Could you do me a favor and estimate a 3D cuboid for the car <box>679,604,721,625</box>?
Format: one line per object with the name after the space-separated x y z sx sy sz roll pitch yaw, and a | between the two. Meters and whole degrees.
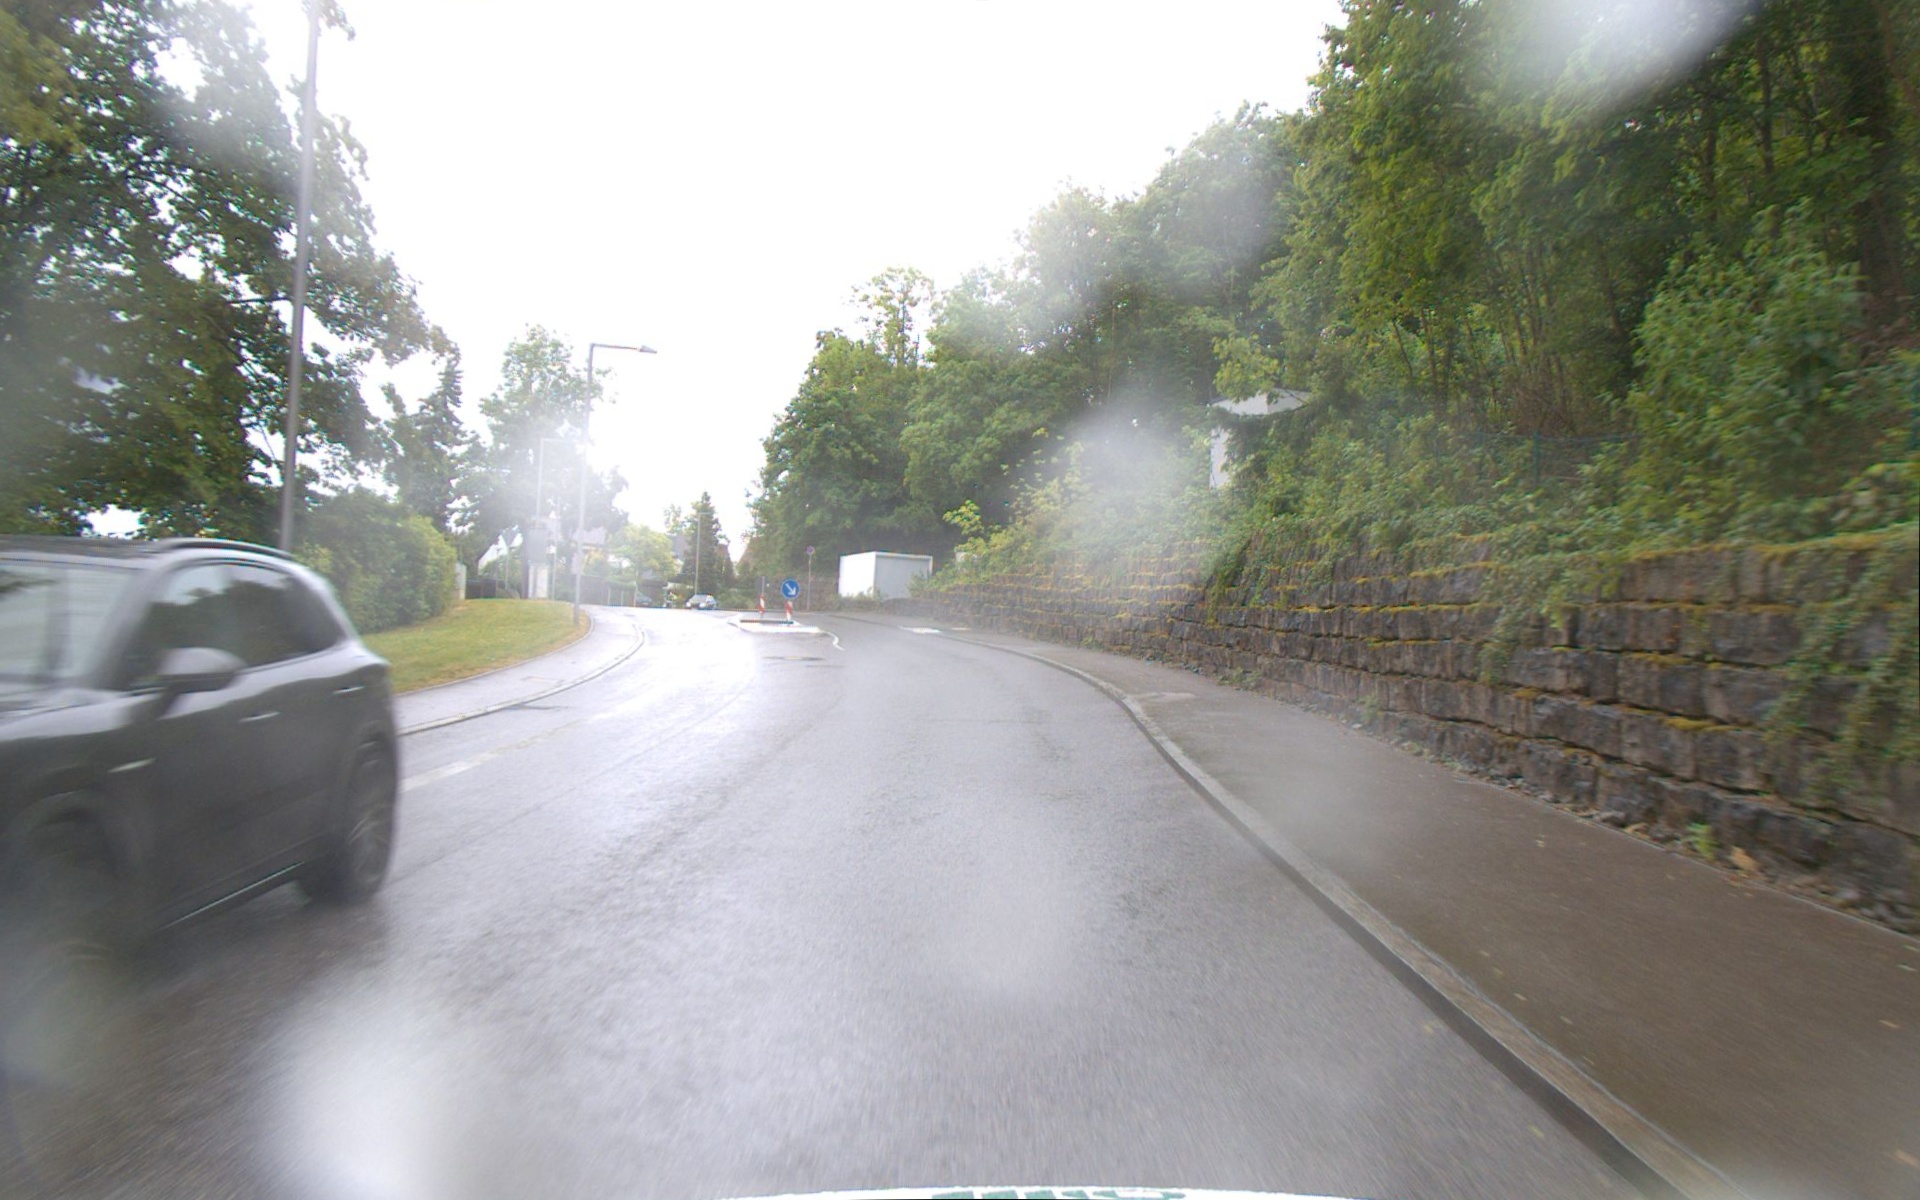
-20.230 1.115 129.003 1.793 1.547 4.631 1 0 10 | car

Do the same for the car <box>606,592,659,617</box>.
-26.507 0.349 133.863 3.925 1.660 2.004 4 -2 39 | car

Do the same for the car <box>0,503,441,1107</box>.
-3.622 0.554 6.323 1.879 1.676 4.545 1 0 -1 | car

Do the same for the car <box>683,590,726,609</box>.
-22.134 -0.071 143.137 1.921 1.413 3.946 7 -3 -38 | car
